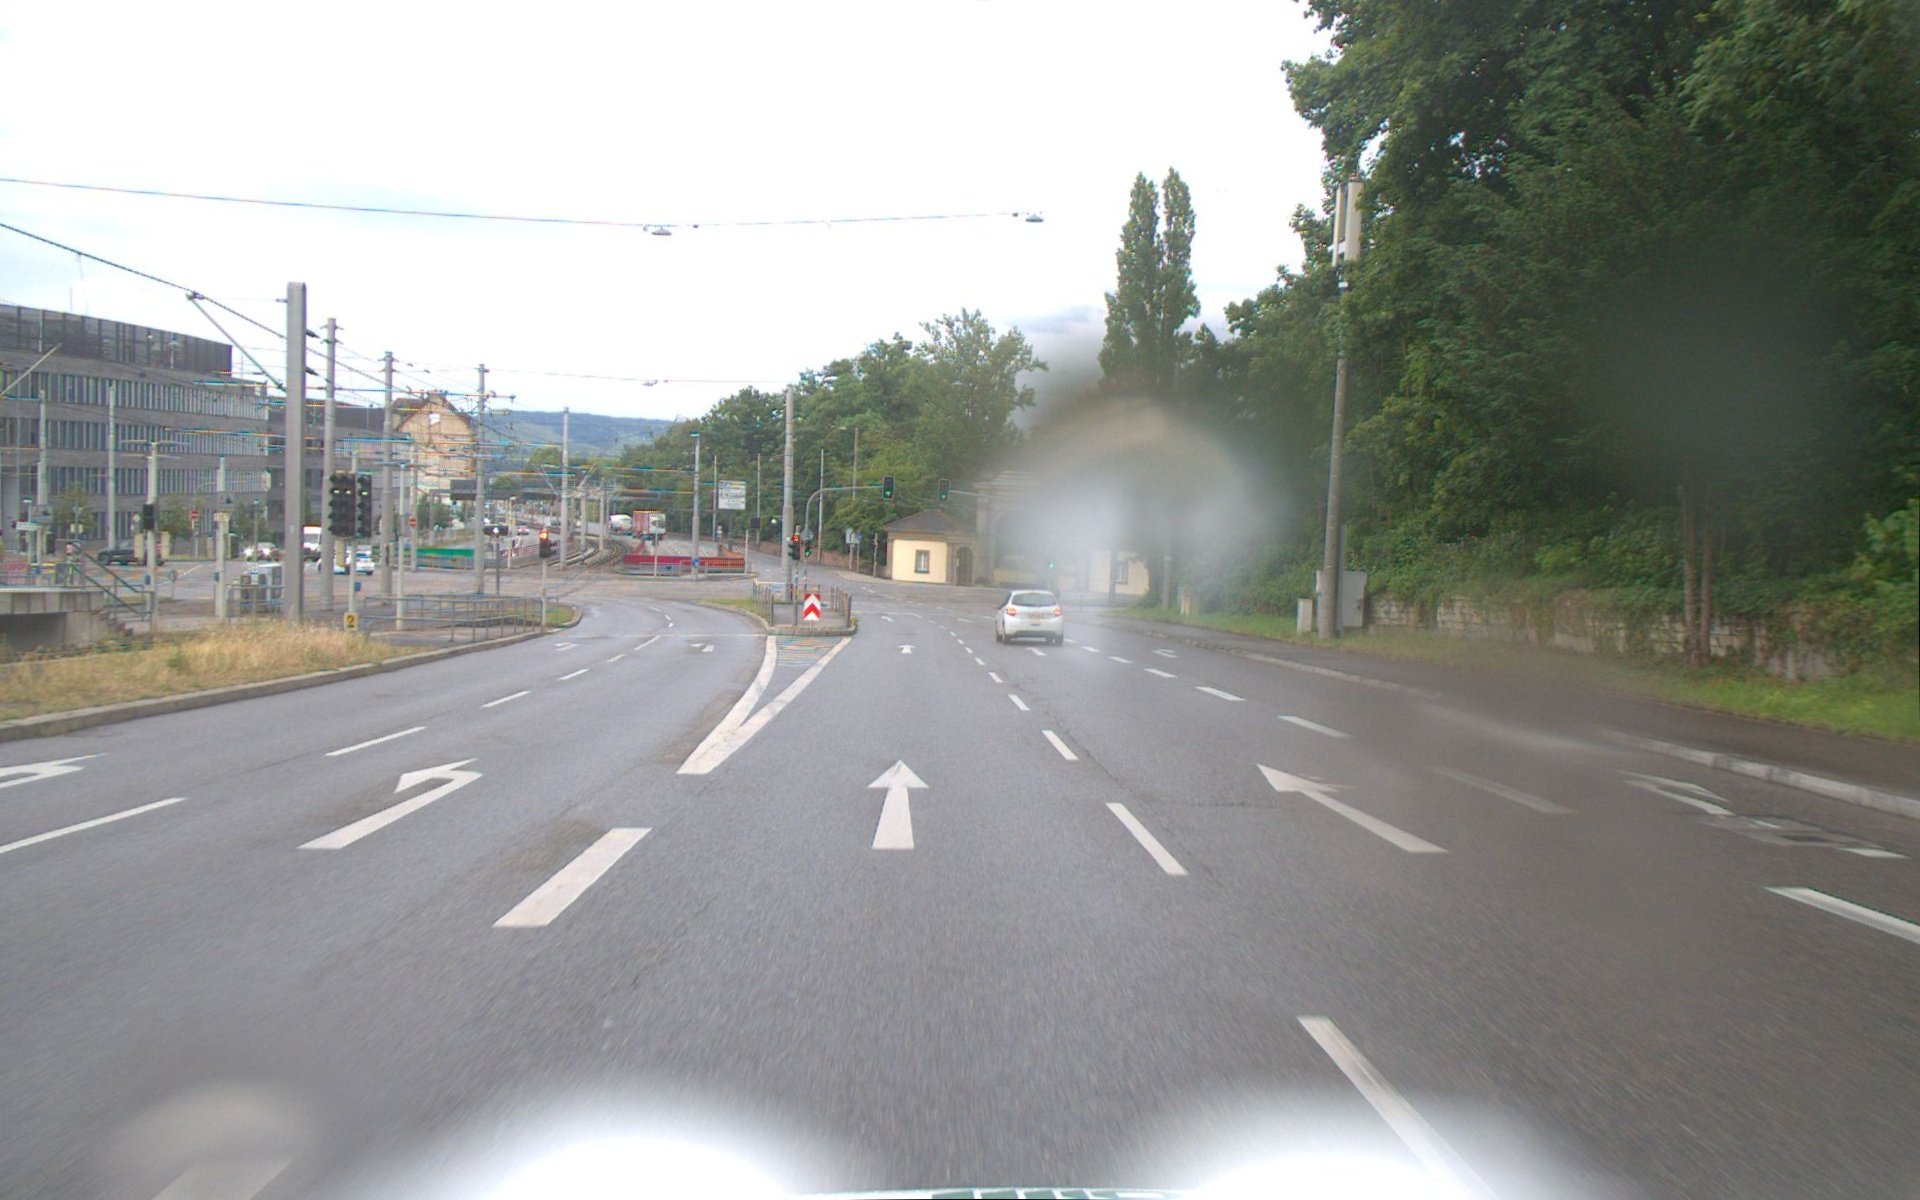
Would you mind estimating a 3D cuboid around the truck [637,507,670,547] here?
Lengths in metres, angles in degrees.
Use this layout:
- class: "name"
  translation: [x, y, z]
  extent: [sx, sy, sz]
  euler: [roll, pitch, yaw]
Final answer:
- class: "truck"
  translation: [-46.024, -10.887, 248.189]
  extent: [3.410, 5.495, 11.993]
  euler: [-1, 0, -17]

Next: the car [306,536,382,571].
- class: "car"
  translation: [-37.915, -2.848, 101.818]
  extent: [3.902, 2.049, 2.001]
  euler: [1, 0, 14]

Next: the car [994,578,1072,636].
- class: "car"
  translation: [2.002, 0.198, 46.371]
  extent: [1.915, 1.514, 3.999]
  euler: [1, 0, -1]

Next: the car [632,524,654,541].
- class: "car"
  translation: [-37.052, -7.902, 193.280]
  extent: [1.963, 1.904, 3.980]
  euler: [-1, 3, -19]

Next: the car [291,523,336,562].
- class: "car"
  translation: [-49.024, -4.359, 125.496]
  extent: [1.957, 2.880, 5.705]
  euler: [-2, 2, -10]
